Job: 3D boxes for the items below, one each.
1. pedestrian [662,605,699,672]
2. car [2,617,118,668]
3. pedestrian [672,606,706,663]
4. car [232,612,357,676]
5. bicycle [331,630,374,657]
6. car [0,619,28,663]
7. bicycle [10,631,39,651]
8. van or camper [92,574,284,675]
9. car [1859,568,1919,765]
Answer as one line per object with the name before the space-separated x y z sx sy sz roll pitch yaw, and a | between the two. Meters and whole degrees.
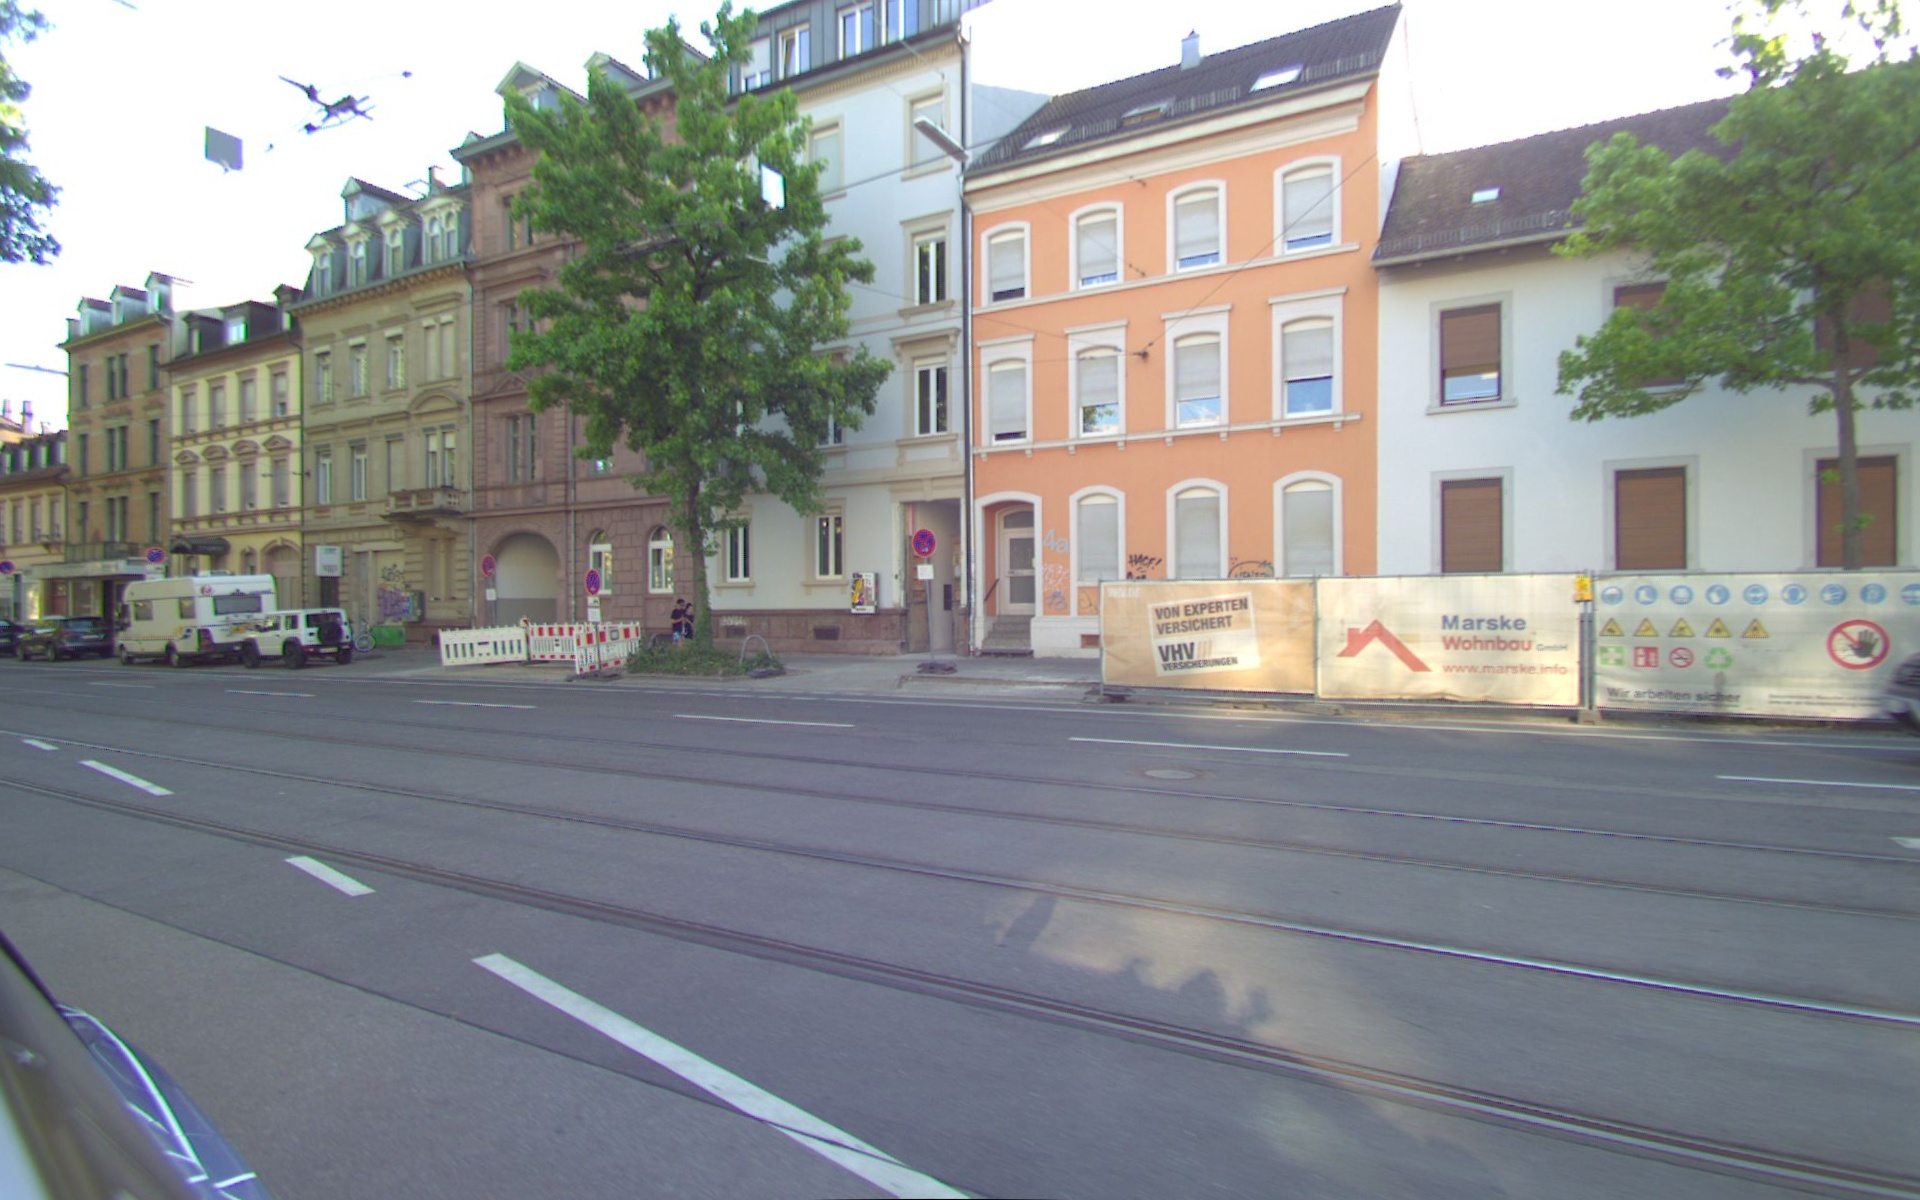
pedestrian | -7.155 0.971 25.932 0.685 1.666 0.564 -1 1 28
car | -33.552 1.553 37.713 4.424 1.718 1.799 -1 2 29
pedestrian | -7.160 0.909 26.747 0.605 1.472 0.572 -1 1 29
car | -19.824 1.288 30.158 3.354 1.718 1.621 -1 2 27
bicycle | -21.324 1.512 35.512 1.786 0.931 0.574 -1 -1 32
car | -40.370 1.707 41.300 4.730 1.715 1.981 -1 2 29
bicycle | -47.395 2.061 51.266 2.112 0.976 0.500 -1 -1 31
van or camper | -25.332 0.763 33.101 7.224 2.969 2.402 -1 2 31
car | 10.425 0.555 8.202 4.290 1.702 1.981 -1 -1 28
